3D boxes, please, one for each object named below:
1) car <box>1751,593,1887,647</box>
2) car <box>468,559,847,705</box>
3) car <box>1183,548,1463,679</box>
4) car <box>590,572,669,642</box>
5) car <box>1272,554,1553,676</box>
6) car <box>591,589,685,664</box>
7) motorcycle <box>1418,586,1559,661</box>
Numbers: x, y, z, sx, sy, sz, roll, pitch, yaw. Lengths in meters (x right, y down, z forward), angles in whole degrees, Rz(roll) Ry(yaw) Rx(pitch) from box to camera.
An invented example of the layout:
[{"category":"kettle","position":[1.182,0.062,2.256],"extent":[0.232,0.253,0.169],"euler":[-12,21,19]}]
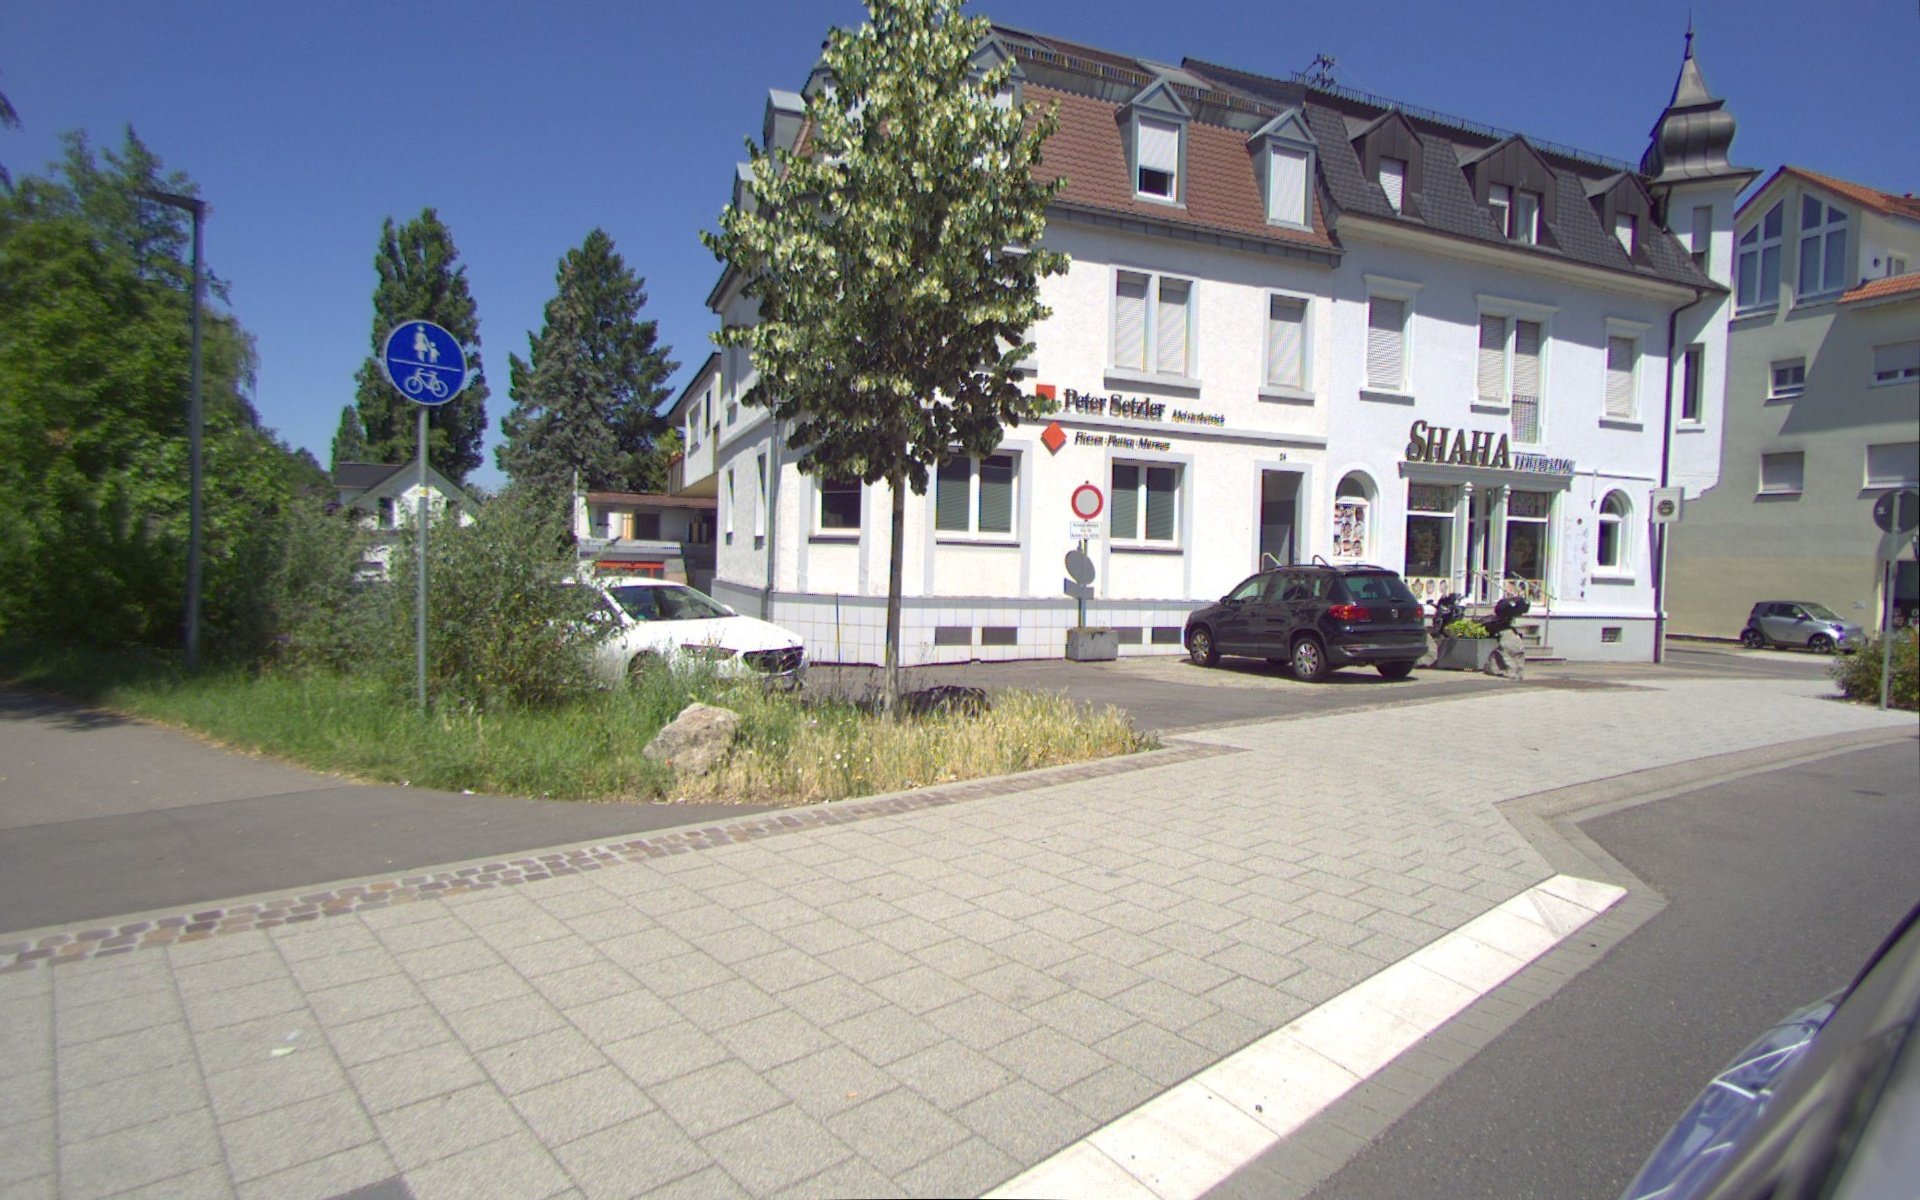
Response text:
[{"category":"car","position":[25.989,0.581,30.703],"extent":[1.498,1.489,2.742],"euler":[1,1,-21]},{"category":"car","position":[-3.487,0.282,11.440],"extent":[4.172,1.367,1.838],"euler":[1,-1,33]},{"category":"car","position":[5.414,0.142,15.692],"extent":[1.817,1.737,4.097],"euler":[1,1,-22]},{"category":"car","position":[-11.108,0.153,33.791],"extent":[1.958,2.156,5.106],"euler":[1,1,-24]},{"category":"car","position":[7.223,0.178,16.636],"extent":[1.817,1.737,4.097],"euler":[1,1,-22]},{"category":"car","position":[-7.474,0.607,23.283],"extent":[1.762,1.562,4.037],"euler":[1,-2,-22]},{"category":"motorcycle","position":[9.972,0.401,19.224],"extent":[0.838,1.291,2.390],"euler":[1,1,-20]}]
